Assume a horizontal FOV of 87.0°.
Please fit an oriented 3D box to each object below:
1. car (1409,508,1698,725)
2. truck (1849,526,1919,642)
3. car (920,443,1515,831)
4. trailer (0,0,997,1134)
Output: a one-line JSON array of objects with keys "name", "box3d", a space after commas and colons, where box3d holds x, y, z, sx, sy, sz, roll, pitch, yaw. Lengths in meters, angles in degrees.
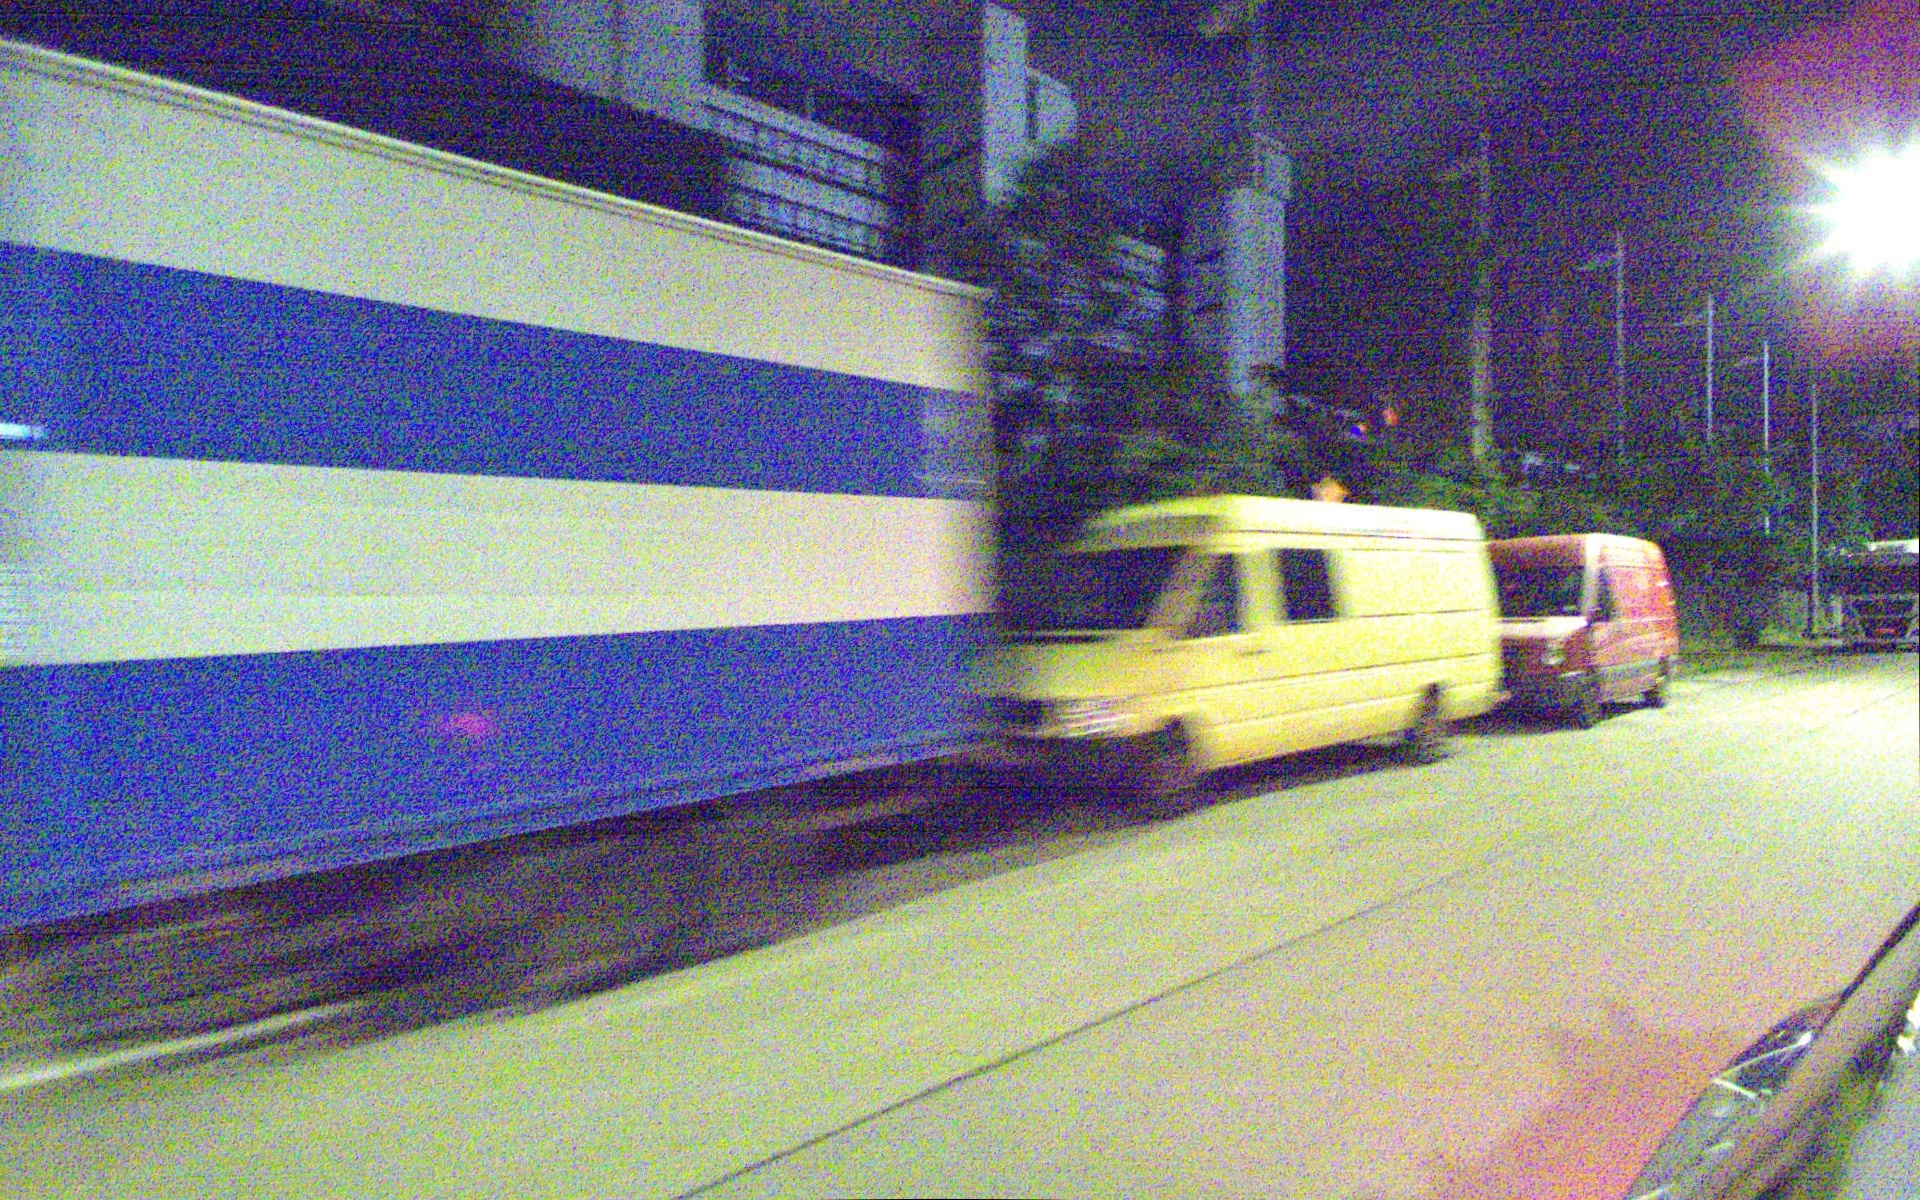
[{"name": "car", "box3d": [8.871, 0.195, 14.828, 5.923, 2.580, 1.996, 0, -1, -43]}, {"name": "truck", "box3d": [37.052, -0.556, 38.280, 12.421, 3.886, 2.516, 0, -1, -36]}, {"name": "car", "box3d": [2.811, 0.240, 9.567, 6.526, 2.580, 1.945, 0, -1, -39]}, {"name": "trailer", "box3d": [-2.176, -0.201, 4.946, 4.289, 3.368, 2.400, 0, -1, -43]}]
